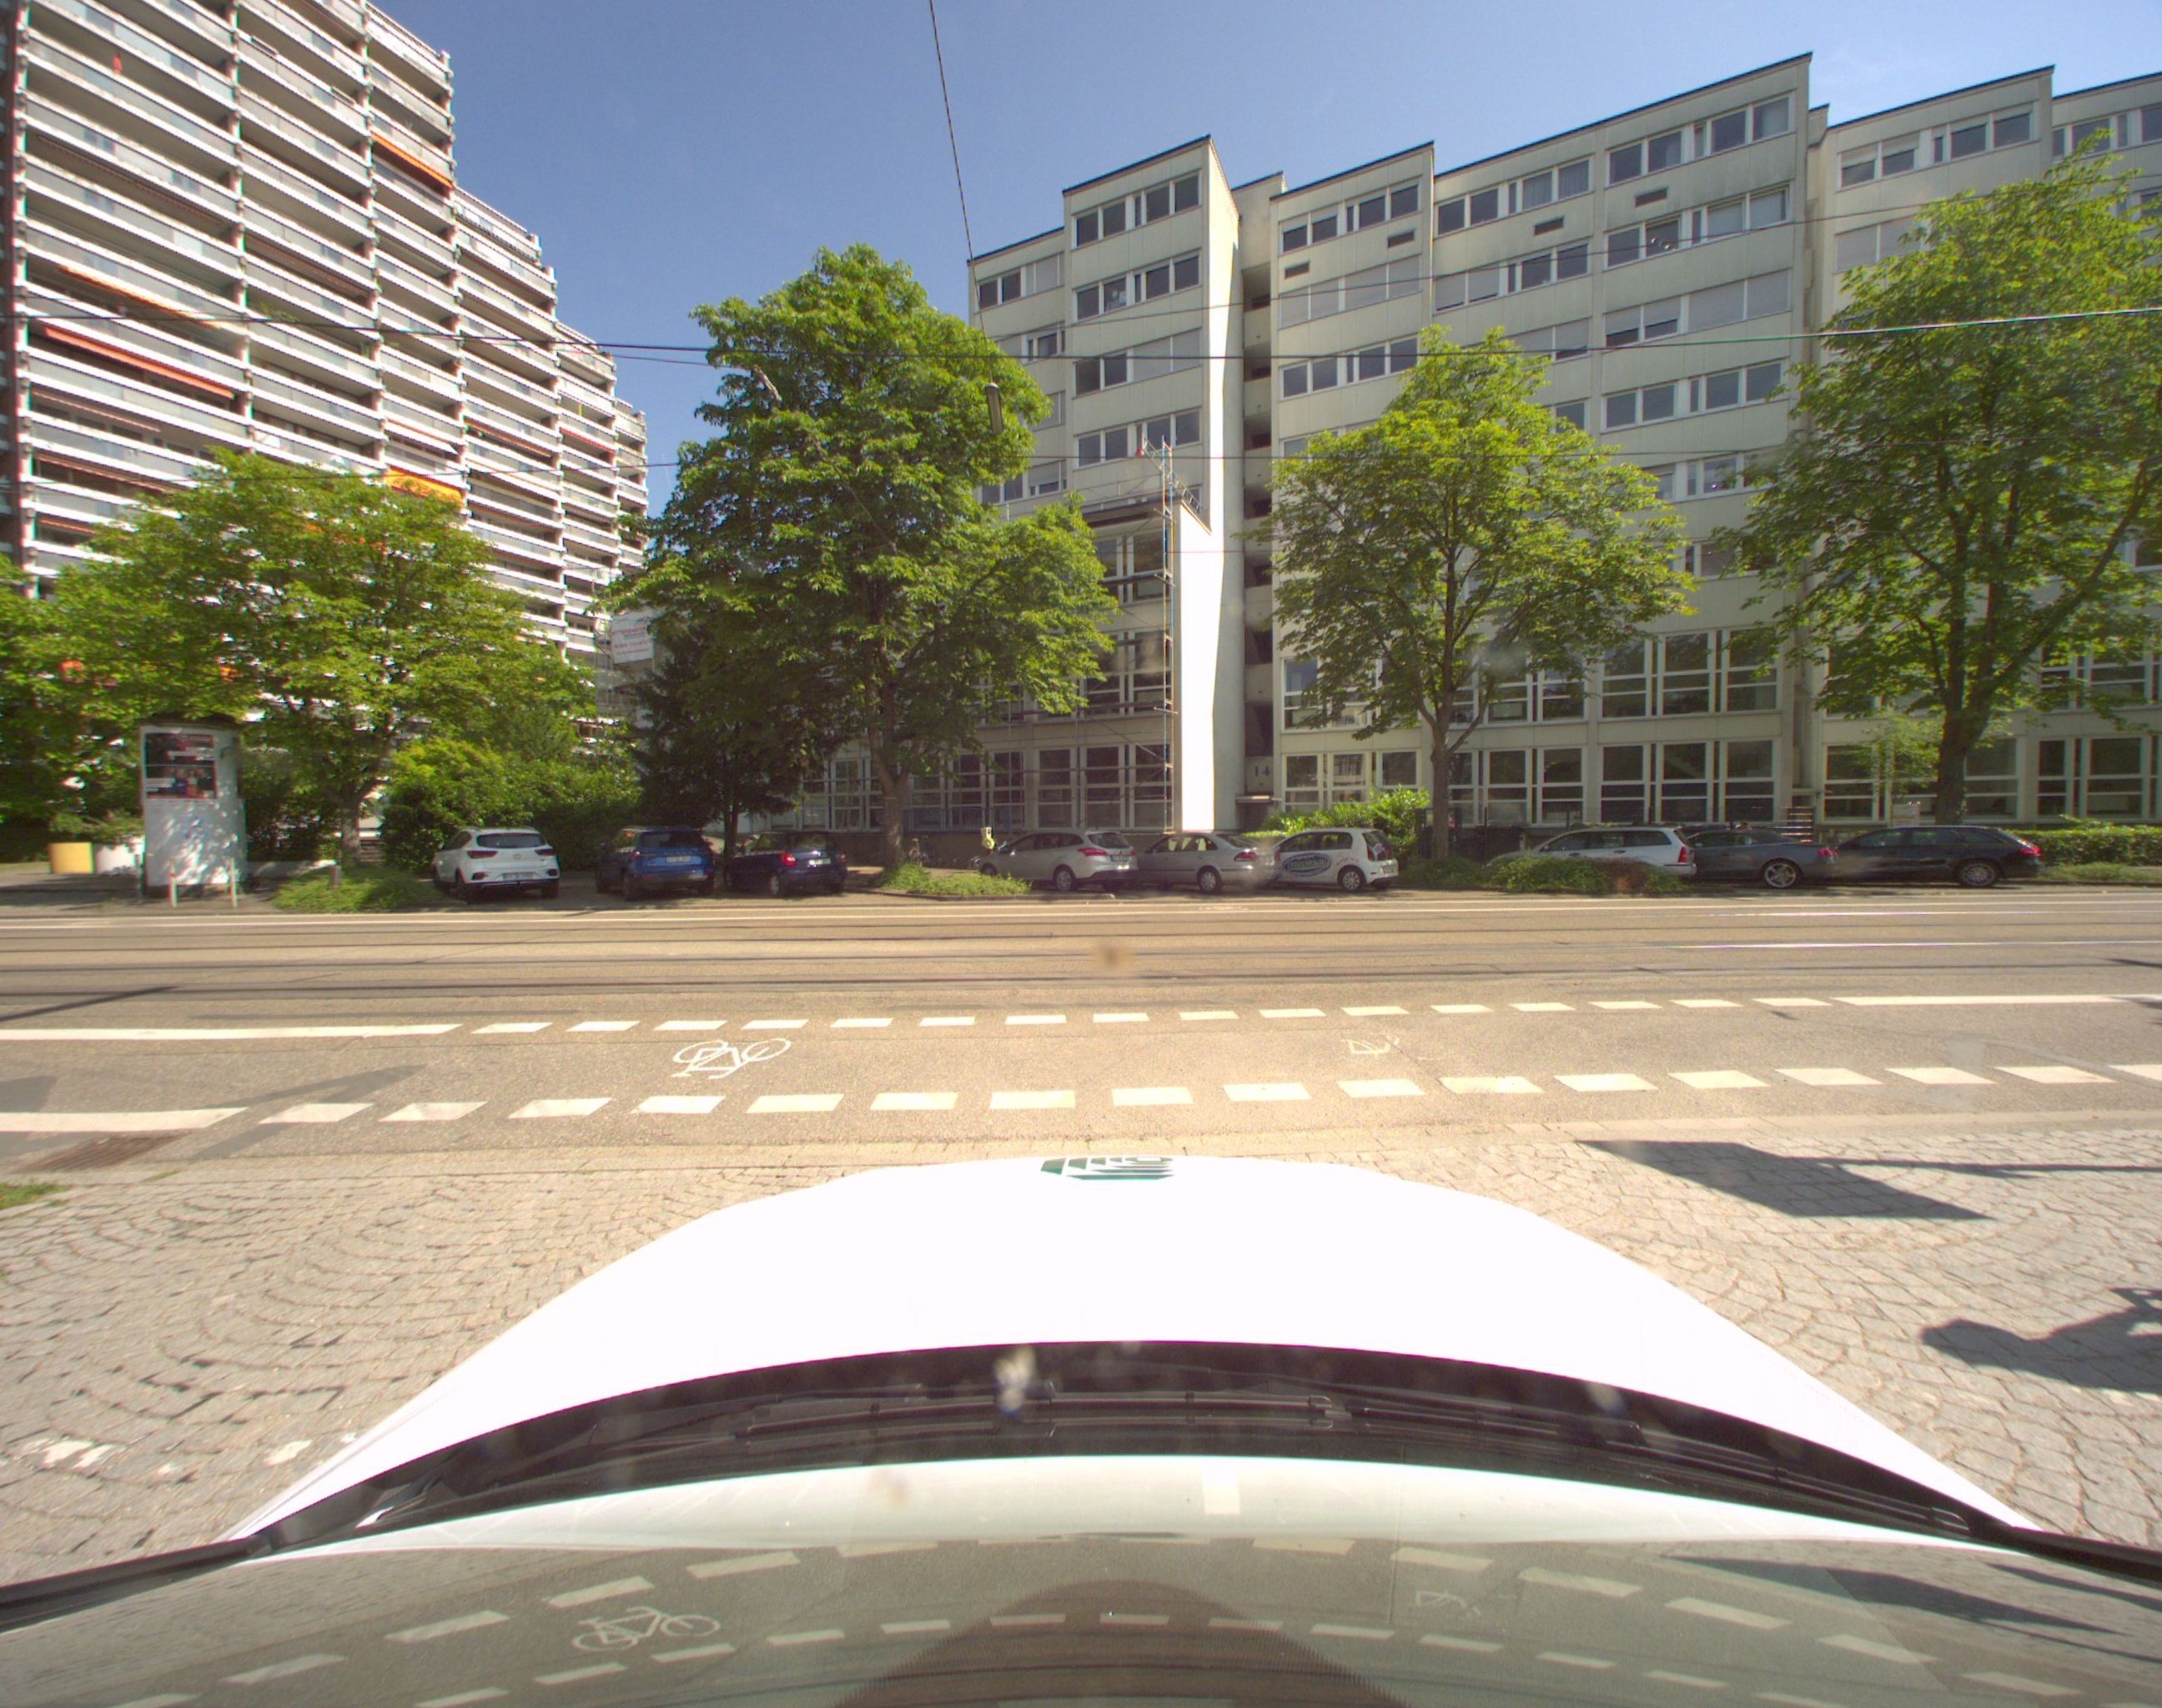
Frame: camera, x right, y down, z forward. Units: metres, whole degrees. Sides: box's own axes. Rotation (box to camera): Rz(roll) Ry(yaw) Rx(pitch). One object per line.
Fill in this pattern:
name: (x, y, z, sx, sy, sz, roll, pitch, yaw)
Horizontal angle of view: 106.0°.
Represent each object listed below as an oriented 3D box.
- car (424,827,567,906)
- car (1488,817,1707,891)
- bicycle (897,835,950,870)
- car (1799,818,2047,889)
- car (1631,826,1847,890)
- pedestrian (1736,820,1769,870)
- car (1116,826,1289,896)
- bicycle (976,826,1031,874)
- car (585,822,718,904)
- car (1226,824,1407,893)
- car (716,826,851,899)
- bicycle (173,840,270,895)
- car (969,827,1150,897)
car: (-13.451, 0.212, 18.622, 3.895, 1.606, 1.831, 1, 2, 42)
car: (12.404, -0.032, 19.733, 4.289, 1.604, 1.568, 1, 1, 41)
bicycle: (-5.189, -0.084, 26.955, 0.735, 1.085, 2.214, 0, 2, 18)
car: (19.429, -0.059, 19.047, 3.896, 1.486, 1.568, 1, 2, 44)
car: (15.675, 0.039, 19.526, 3.896, 1.357, 1.568, 1, 2, 44)
pedestrian: (19.627, -0.268, 23.815, 0.618, 1.460, 0.424, -1, 1, -4)
car: (2.800, 0.092, 19.382, 1.622, 1.486, 3.897, -2, 2, -44)
bicycle: (-2.462, -0.155, 26.091, 0.655, 1.453, 2.103, 0, 2, 30)
car: (-10.032, 0.115, 18.890, 1.790, 1.622, 3.899, -3, 4, -42)
car: (5.602, 0.078, 19.666, 1.623, 1.486, 3.896, -2, 2, -45)
car: (-6.968, 0.136, 18.963, 3.415, 1.530, 1.586, 1, 2, 44)
bicycle: (-21.093, 0.318, 20.006, 1.614, 1.308, 0.546, -1, 1, -7)
car: (-0.607, 0.116, 19.578, 4.380, 1.486, 1.795, 1, 2, 44)
